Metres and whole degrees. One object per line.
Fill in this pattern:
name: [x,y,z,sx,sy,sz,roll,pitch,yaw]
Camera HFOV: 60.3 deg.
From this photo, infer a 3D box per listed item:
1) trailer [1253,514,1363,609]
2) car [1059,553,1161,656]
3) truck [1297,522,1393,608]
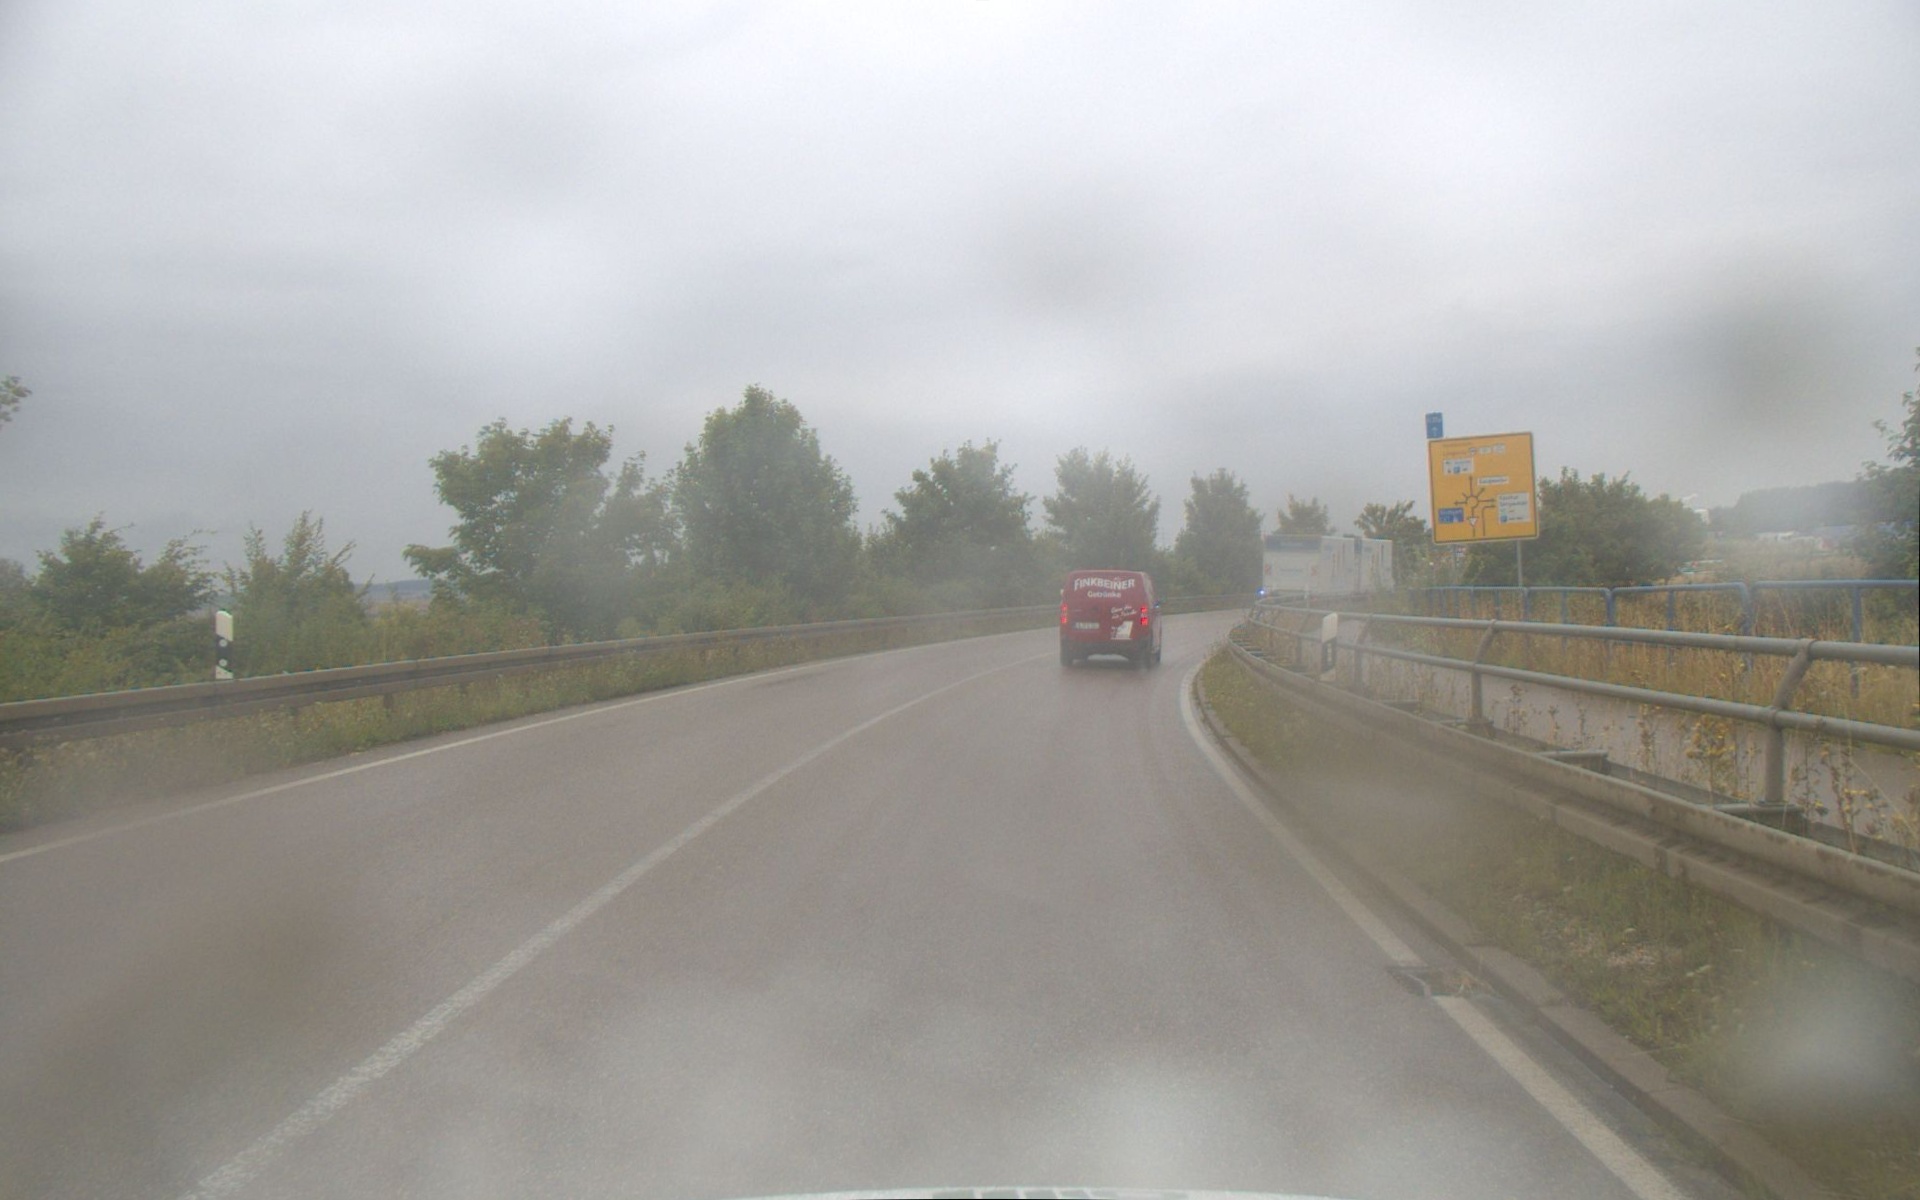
trailer: [15.707,-1.653,74.064,3.137,3.990,8.736,1,0,23]
car: [3.143,0.032,34.247,1.951,1.959,4.147,-1,2,6]
truck: [19.203,-1.665,82.090,3.137,3.990,8.736,1,0,23]
